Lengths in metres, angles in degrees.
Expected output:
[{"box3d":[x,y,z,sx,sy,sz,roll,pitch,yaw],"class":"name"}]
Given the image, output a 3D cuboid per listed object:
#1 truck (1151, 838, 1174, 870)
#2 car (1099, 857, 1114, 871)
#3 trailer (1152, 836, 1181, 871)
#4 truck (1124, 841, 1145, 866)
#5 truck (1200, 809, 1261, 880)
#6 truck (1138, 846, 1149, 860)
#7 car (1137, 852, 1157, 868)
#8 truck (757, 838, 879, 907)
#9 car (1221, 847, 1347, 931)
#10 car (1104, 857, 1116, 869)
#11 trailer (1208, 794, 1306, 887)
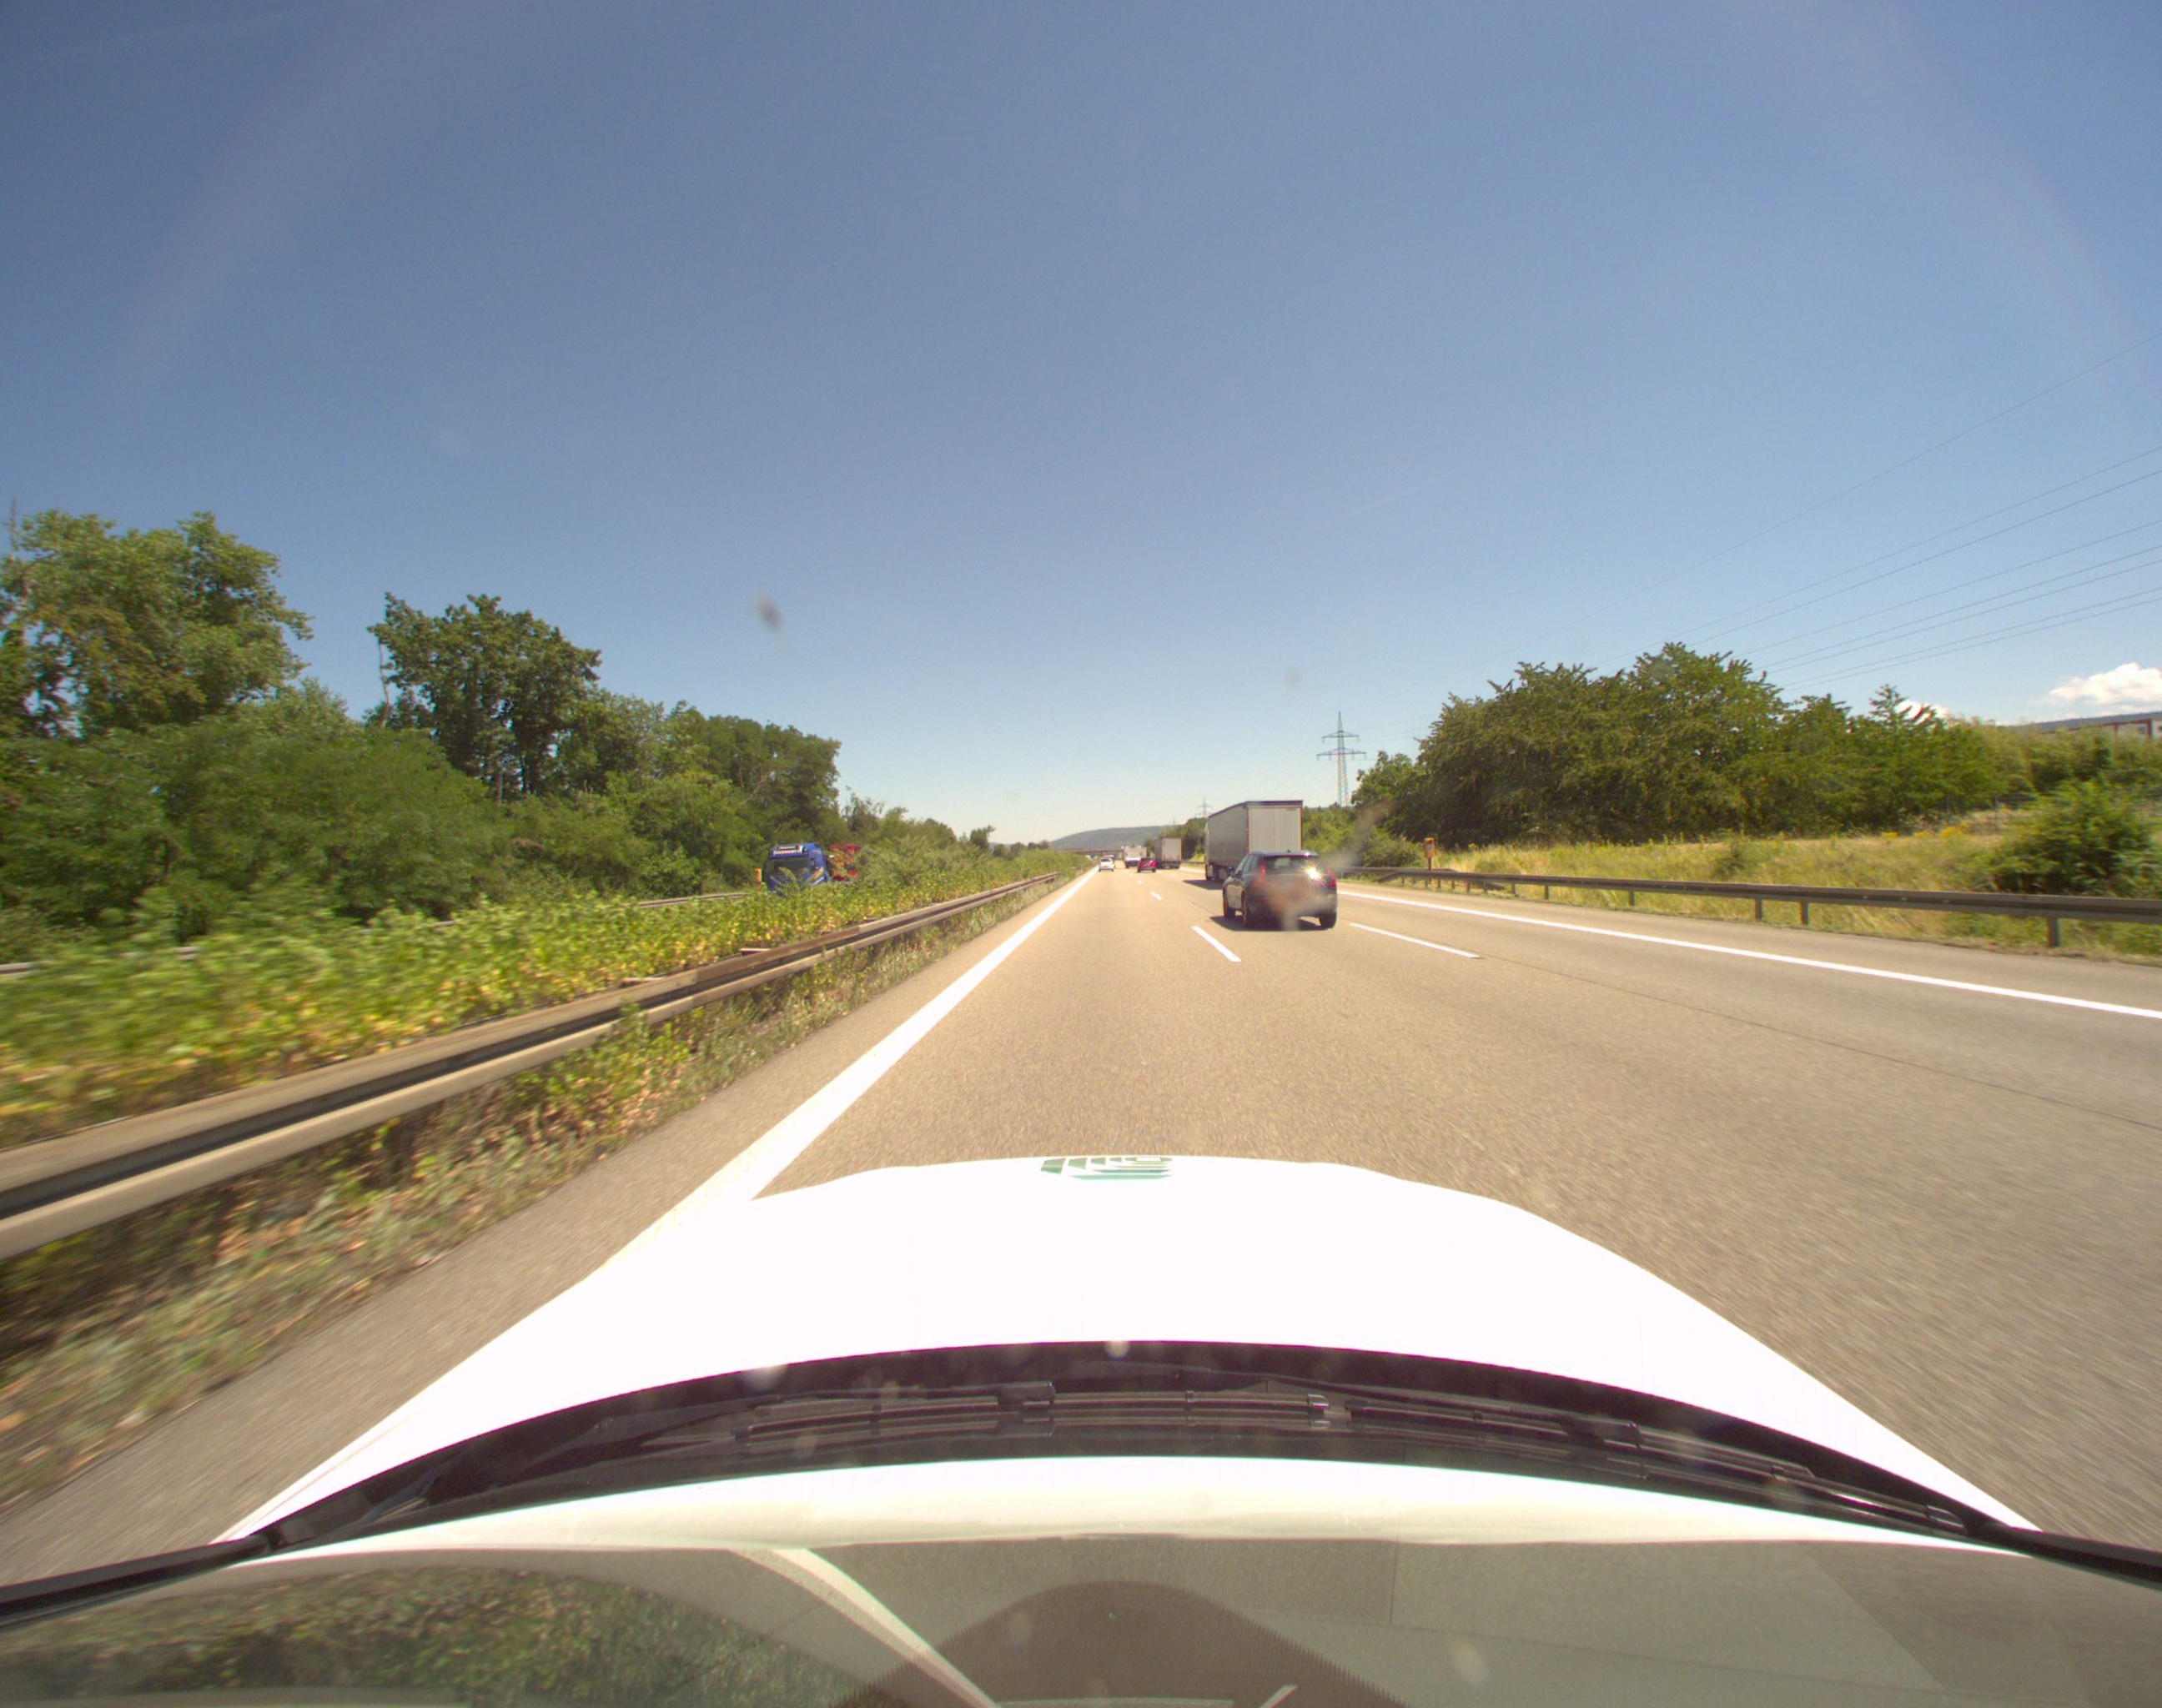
[{"box3d":[11.321,-0.008,113.417,2.784,4.164,5.725,-2,-1,2],"class":"truck"},{"box3d":[2.903,1.140,92.347,1.601,1.468,4.001,-1,0,1],"class":"car"},{"box3d":[11.051,-0.050,106.847,2.778,4.164,13.581,-2,-1,2],"class":"trailer"},{"box3d":[7.645,-0.035,117.425,2.772,3.373,8.130,-1,-1,2],"class":"truck"},{"box3d":[9.148,-0.531,50.480,2.726,4.120,6.127,-1,-1,2],"class":"truck"},{"box3d":[14.818,-0.188,194.044,2.213,3.209,10.389,-2,0,2],"class":"truck"},{"box3d":[6.730,0.585,83.031,1.796,1.545,4.002,-1,0,2],"class":"car"},{"box3d":[-15.099,1.003,48.164,2.777,3.432,11.986,-4,-1,2],"class":"truck"},{"box3d":[4.367,0.699,18.152,1.867,1.623,4.005,-1,0,1],"class":"car"},{"box3d":[4.356,1.348,123.253,1.754,1.850,4.001,-1,0,1],"class":"car"},{"box3d":[8.895,-0.569,42.998,2.725,4.106,13.127,-1,0,2],"class":"trailer"}]
